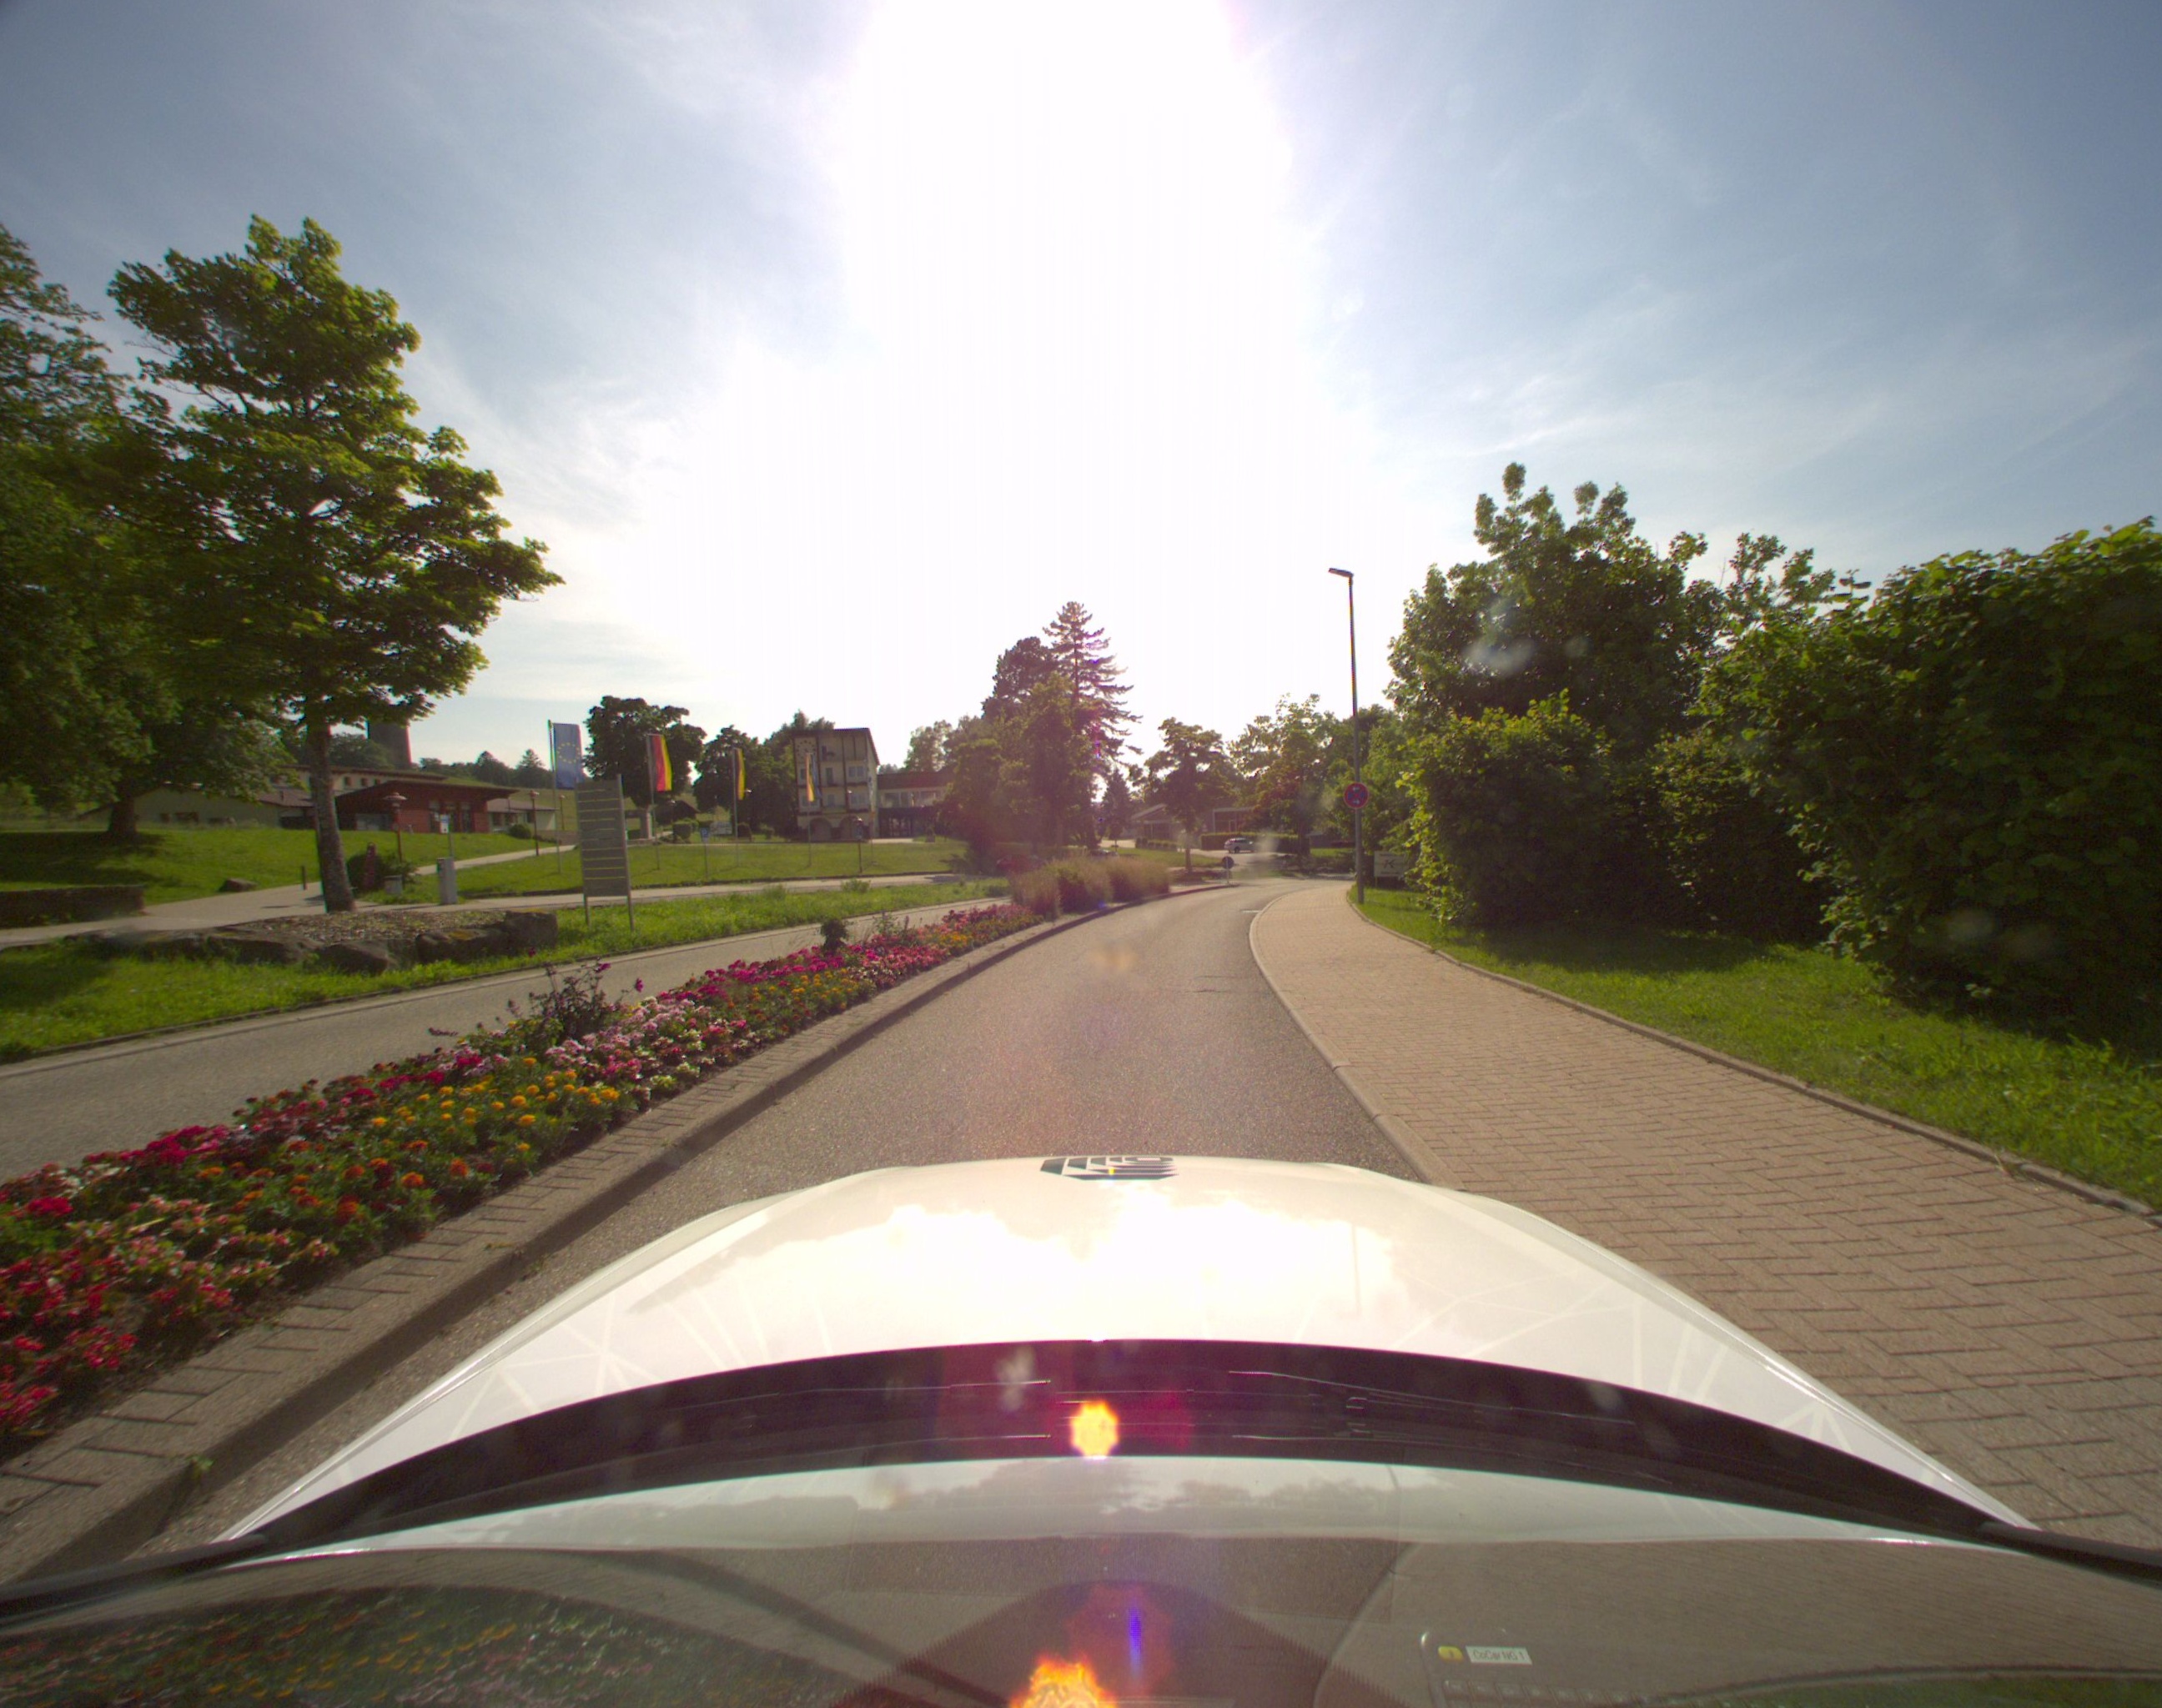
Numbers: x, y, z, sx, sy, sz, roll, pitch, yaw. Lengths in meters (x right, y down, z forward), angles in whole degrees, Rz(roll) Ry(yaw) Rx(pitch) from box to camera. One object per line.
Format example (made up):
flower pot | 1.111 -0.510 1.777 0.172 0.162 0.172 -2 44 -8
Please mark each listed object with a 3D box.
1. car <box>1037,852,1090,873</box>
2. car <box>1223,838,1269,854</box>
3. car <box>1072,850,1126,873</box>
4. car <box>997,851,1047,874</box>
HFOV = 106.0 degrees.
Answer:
car | -1.284 0.600 59.795 3.667 1.433 1.787 1 1 44
car | 18.468 -0.923 91.213 4.722 1.533 1.992 -3 5 -14
car | 1.377 0.551 62.686 3.892 1.609 1.787 1 1 43
car | -4.198 0.582 57.542 3.167 1.470 1.787 1 1 42
